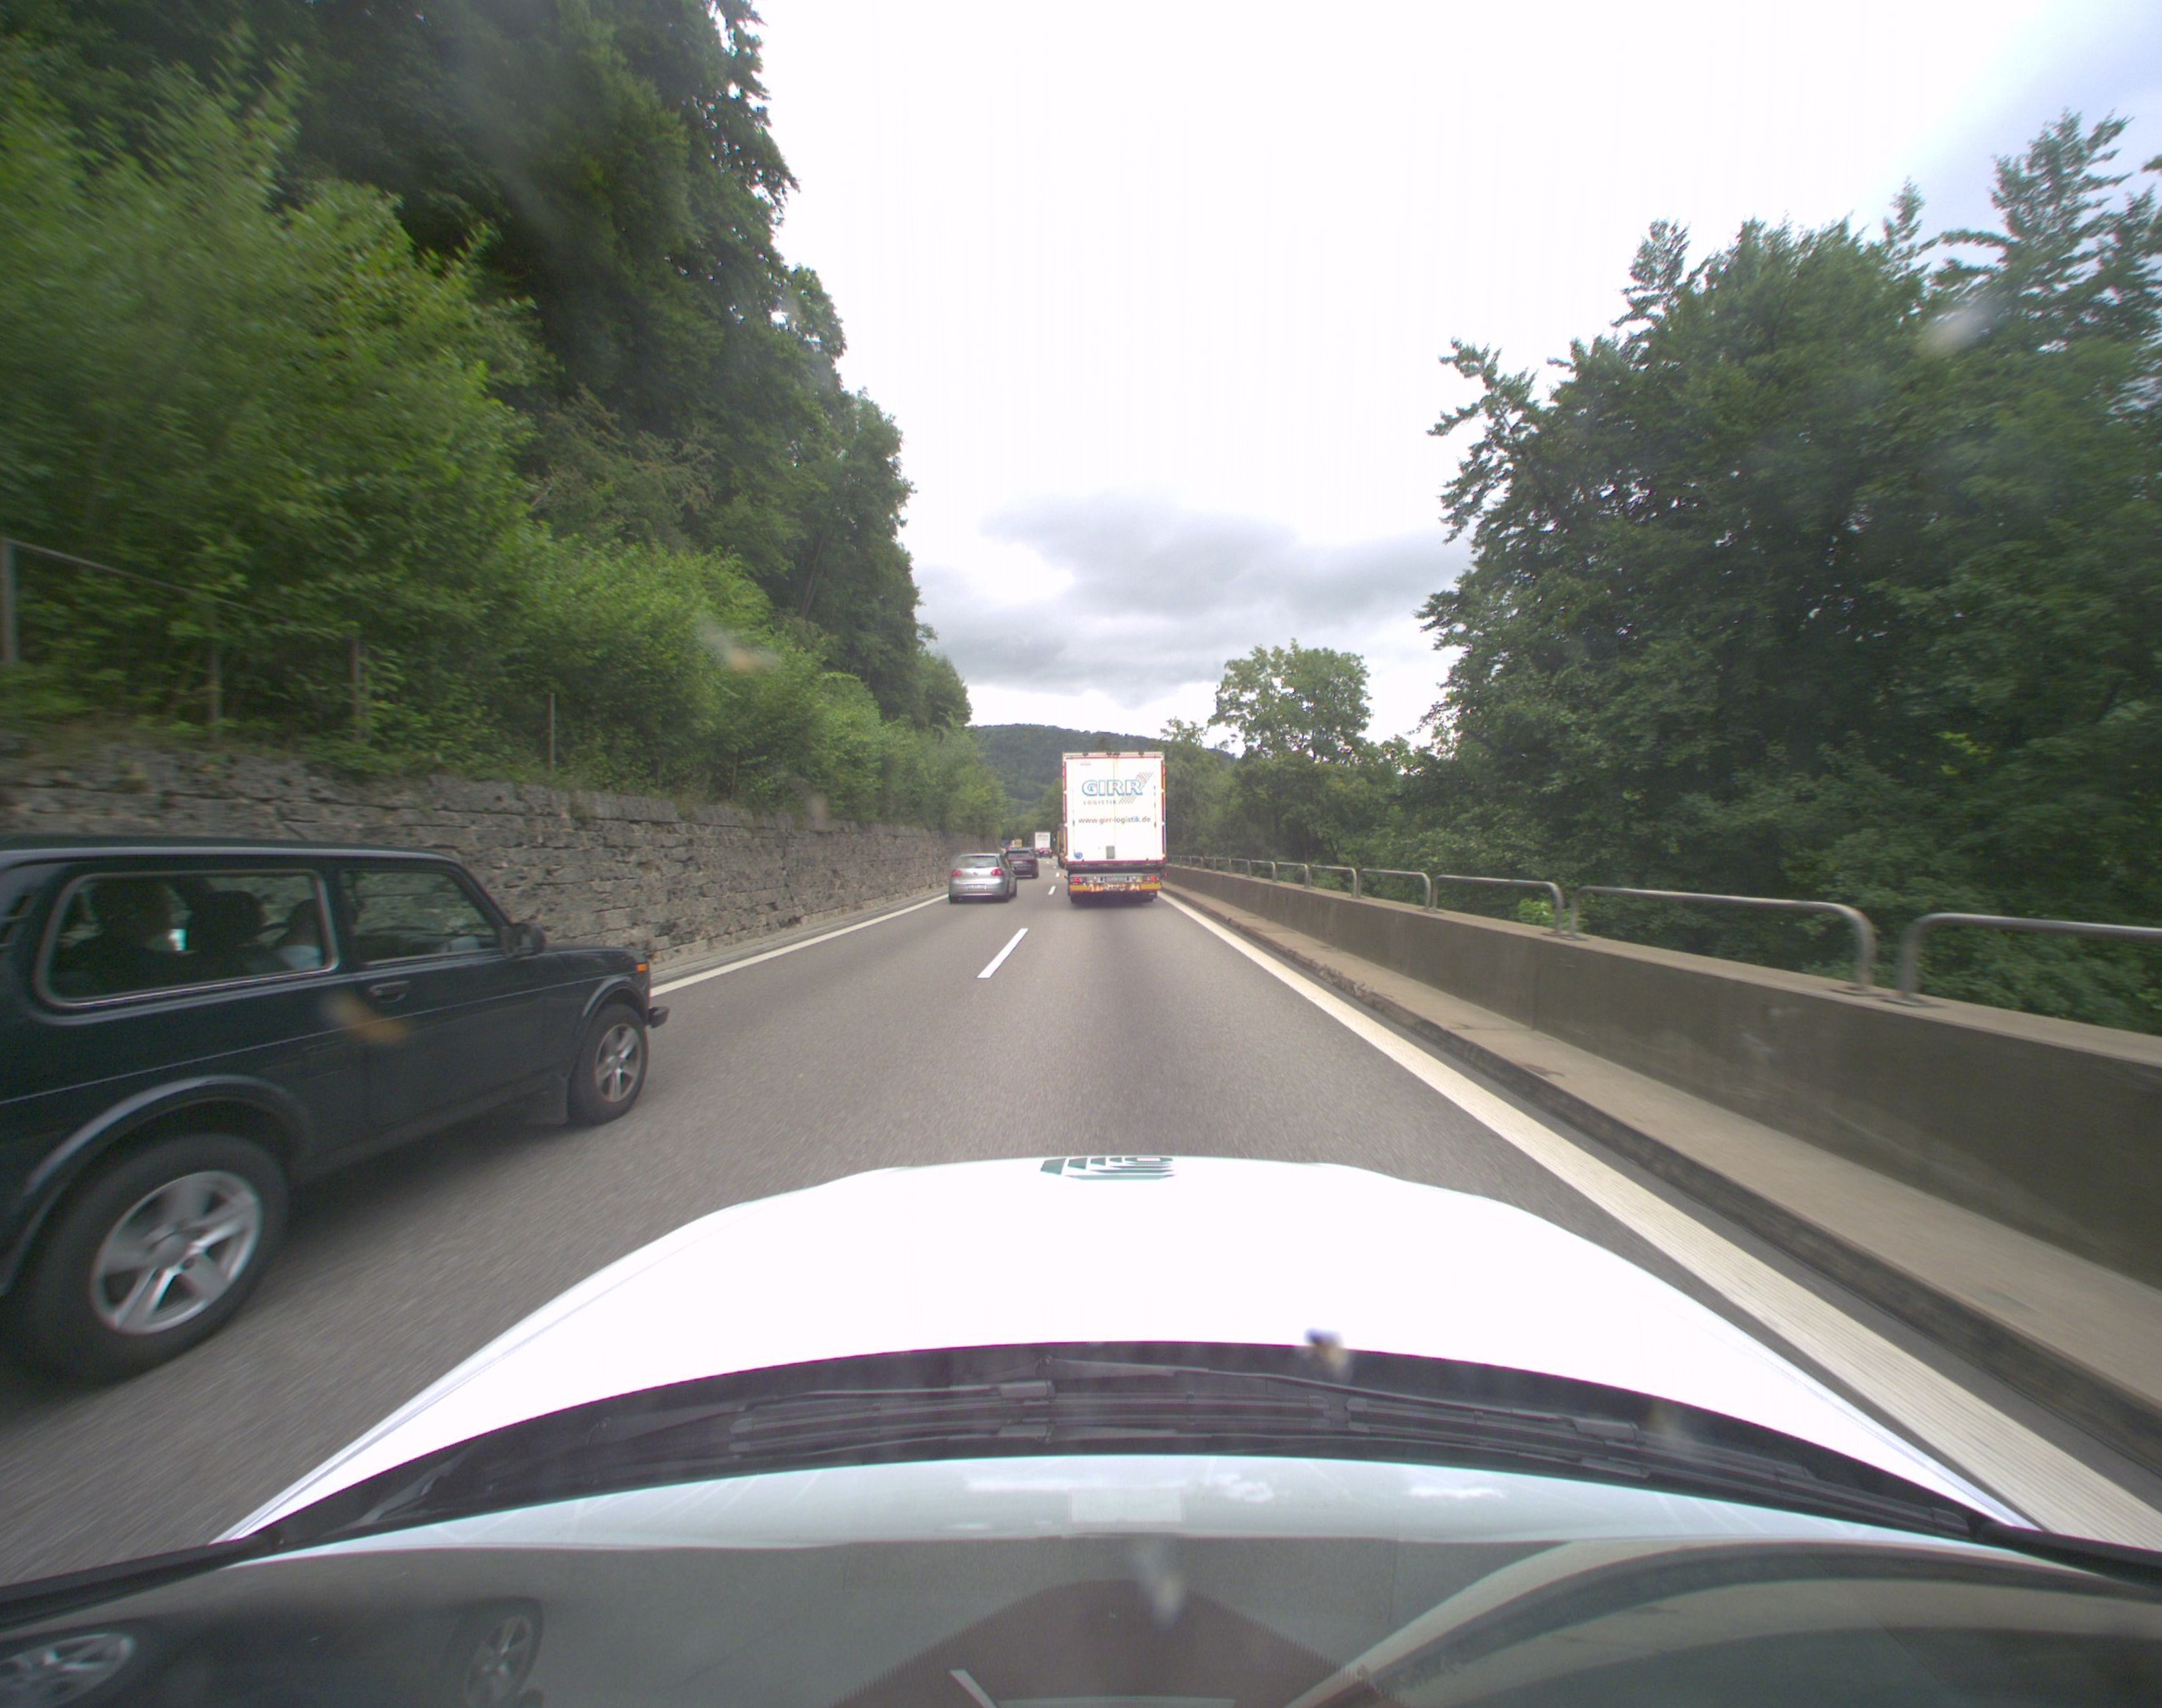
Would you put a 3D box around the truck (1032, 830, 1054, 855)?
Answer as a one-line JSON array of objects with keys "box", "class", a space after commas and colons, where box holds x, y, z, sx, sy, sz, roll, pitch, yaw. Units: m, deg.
[{"box": [-6.366, -1.843, 136.059, 3.503, 3.847, 11.761, 0, 0, -3], "class": "truck"}]

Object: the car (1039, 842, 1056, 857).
[{"box": [-4.568, -0.605, 111.911, 1.986, 2.014, 4.002, 0, 0, 2], "class": "car"}]

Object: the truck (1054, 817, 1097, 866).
[{"box": [-0.539, -0.904, 63.744, 2.483, 3.571, 9.289, -1, 0, -6], "class": "truck"}]

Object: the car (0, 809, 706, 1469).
[{"box": [-3.484, 0.713, 3.592, 1.663, 1.638, 4.069, -1, 0, 1], "class": "car"}]

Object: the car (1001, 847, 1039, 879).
[{"box": [-3.205, 0.431, 43.367, 1.913, 1.595, 4.174, -1, 0, -3], "class": "car"}]

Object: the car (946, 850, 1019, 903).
[{"box": [-2.954, 0.644, 25.131, 1.723, 1.486, 4.000, -1, 0, 0], "class": "car"}]

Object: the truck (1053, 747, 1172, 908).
[{"box": [0.812, -0.686, 24.731, 2.899, 3.960, 9.279, -1, 0, 0], "class": "truck"}]

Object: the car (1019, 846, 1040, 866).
[{"box": [-4.959, 0.161, 78.937, 1.988, 1.849, 3.997, 0, 0, -2], "class": "car"}]
